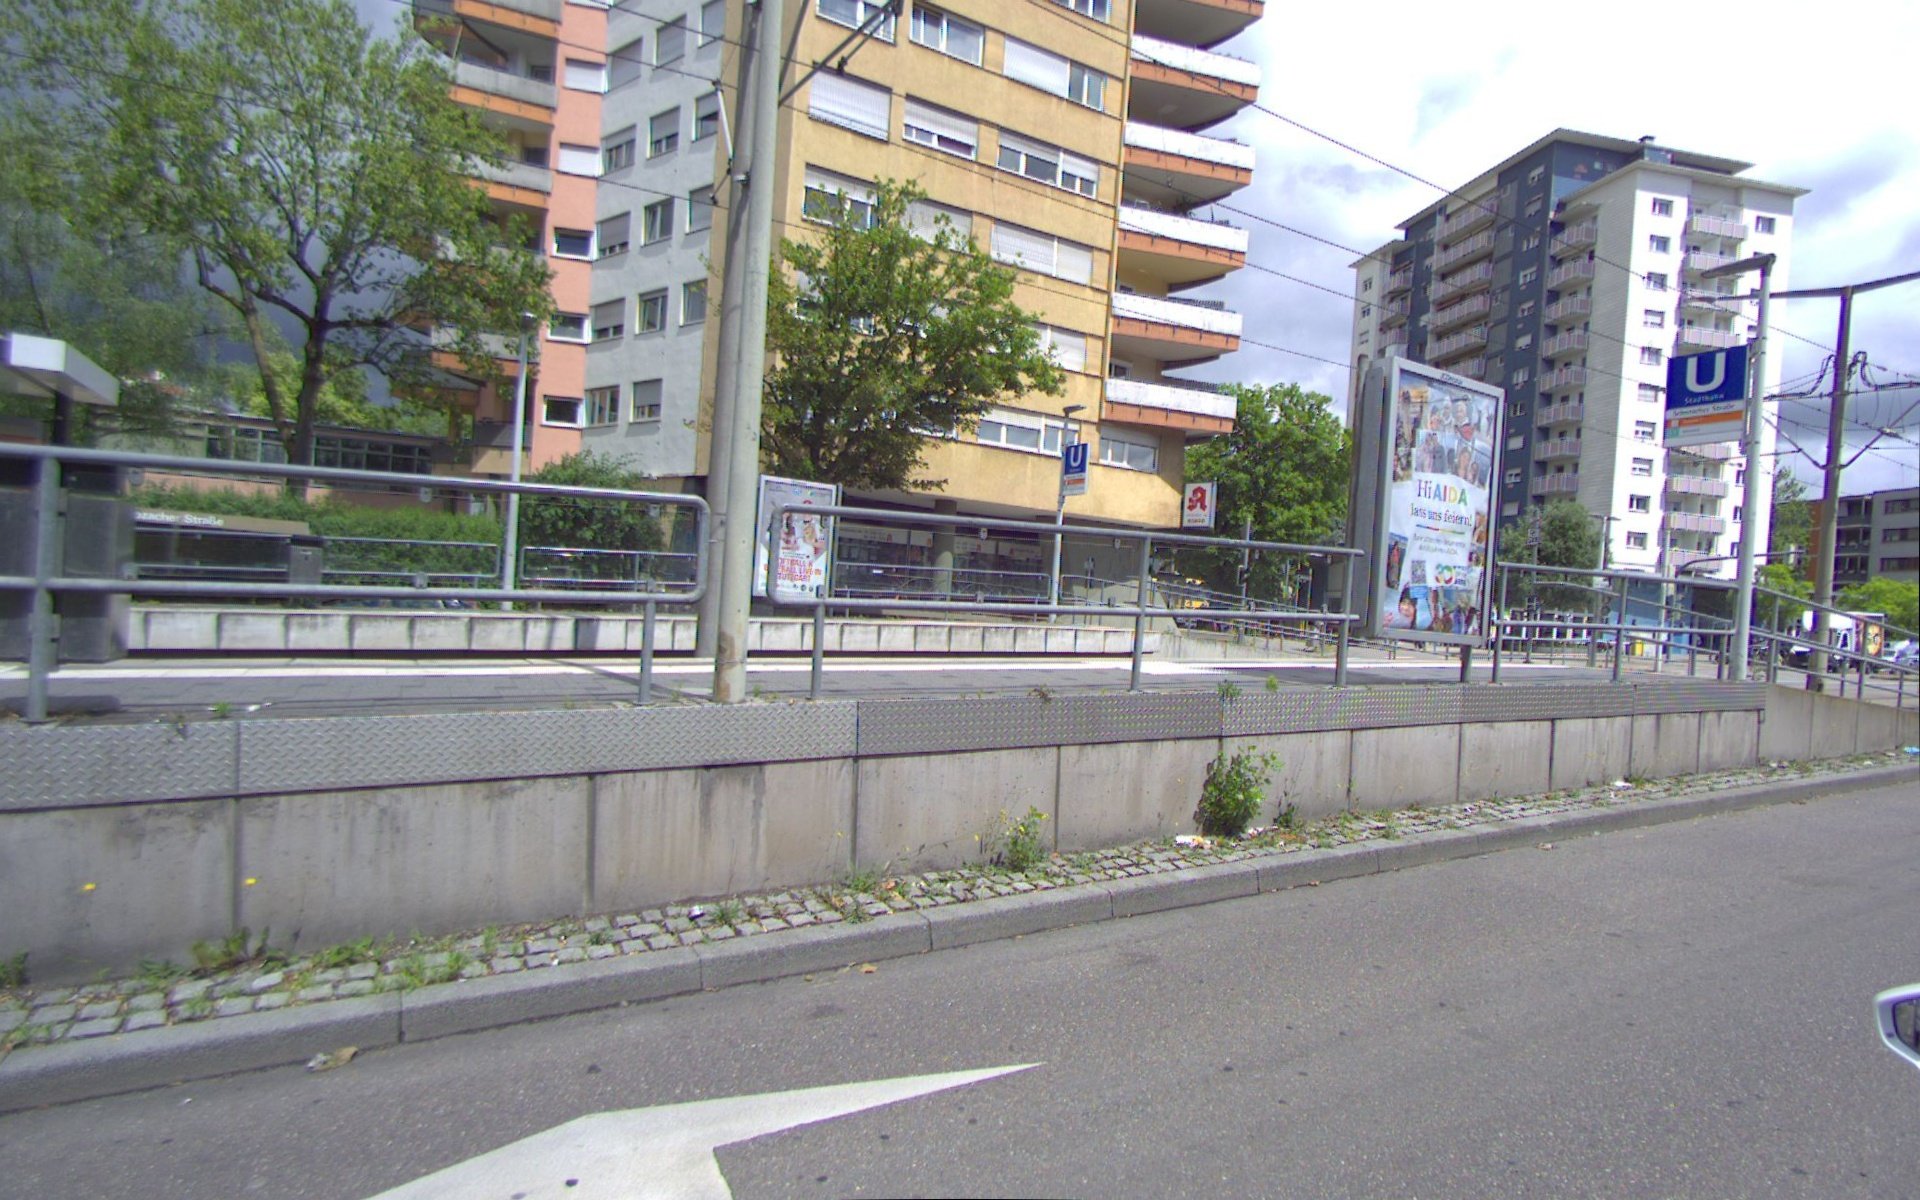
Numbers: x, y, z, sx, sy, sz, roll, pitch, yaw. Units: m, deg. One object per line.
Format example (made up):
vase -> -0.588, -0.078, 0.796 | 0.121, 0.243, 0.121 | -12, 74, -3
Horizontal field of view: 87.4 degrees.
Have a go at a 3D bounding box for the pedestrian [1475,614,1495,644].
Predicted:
pedestrian -> 36.142, 2.002, 69.134 | 0.831, 2.040, 0.861 | 2, 0, -2

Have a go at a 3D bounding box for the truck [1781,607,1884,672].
truck -> 45.928, 2.099, 52.814 | 7.244, 3.159, 2.267 | 2, 0, -34

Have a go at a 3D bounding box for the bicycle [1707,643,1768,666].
bicycle -> 42.555, 2.958, 54.984 | 2.521, 1.022, 0.754 | 4, 0, 33

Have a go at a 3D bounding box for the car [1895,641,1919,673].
car -> 58.109, 3.451, 60.538 | 3.732, 1.780, 1.583 | 2, 0, -31

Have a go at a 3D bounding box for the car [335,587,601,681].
car -> -8.172, 0.568, 16.848 | 3.820, 1.424, 1.571 | 2, 0, -30

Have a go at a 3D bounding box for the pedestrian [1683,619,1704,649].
pedestrian -> 52.196, 2.407, 71.479 | 0.832, 2.040, 0.860 | 2, 0, -12

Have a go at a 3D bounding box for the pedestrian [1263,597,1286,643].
pedestrian -> 12.572, 0.779, 40.177 | 0.649, 1.799, 0.658 | 2, 0, -1

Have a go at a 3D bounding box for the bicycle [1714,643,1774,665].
bicycle -> 43.414, 2.987, 55.677 | 2.521, 1.022, 0.754 | 4, 0, 33

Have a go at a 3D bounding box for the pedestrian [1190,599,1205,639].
pedestrian -> 12.203, 0.991, 51.672 | 0.531, 2.040, 0.560 | 2, 0, 34

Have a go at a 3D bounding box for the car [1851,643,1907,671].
car -> 52.212, 3.219, 57.033 | 3.733, 1.480, 1.399 | 2, 0, -32

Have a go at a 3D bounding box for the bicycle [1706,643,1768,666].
bicycle -> 41.921, 2.929, 54.243 | 2.521, 1.022, 0.754 | 4, 0, 33

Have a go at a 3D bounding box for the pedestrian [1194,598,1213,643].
pedestrian -> 11.162, 0.936, 46.071 | 0.532, 2.040, 0.559 | 2, 0, -22

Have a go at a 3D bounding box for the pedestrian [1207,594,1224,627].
pedestrian -> 11.473, 0.466, 45.095 | 0.542, 1.459, 0.496 | 2, -3, -27

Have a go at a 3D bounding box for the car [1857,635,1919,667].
car -> 64.478, 3.499, 69.021 | 3.846, 2.001, 1.657 | 2, 0, 18

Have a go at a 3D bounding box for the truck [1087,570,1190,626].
truck -> 7.981, -0.108, 45.240 | 2.323, 2.320, 4.260 | 2, 0, -29
